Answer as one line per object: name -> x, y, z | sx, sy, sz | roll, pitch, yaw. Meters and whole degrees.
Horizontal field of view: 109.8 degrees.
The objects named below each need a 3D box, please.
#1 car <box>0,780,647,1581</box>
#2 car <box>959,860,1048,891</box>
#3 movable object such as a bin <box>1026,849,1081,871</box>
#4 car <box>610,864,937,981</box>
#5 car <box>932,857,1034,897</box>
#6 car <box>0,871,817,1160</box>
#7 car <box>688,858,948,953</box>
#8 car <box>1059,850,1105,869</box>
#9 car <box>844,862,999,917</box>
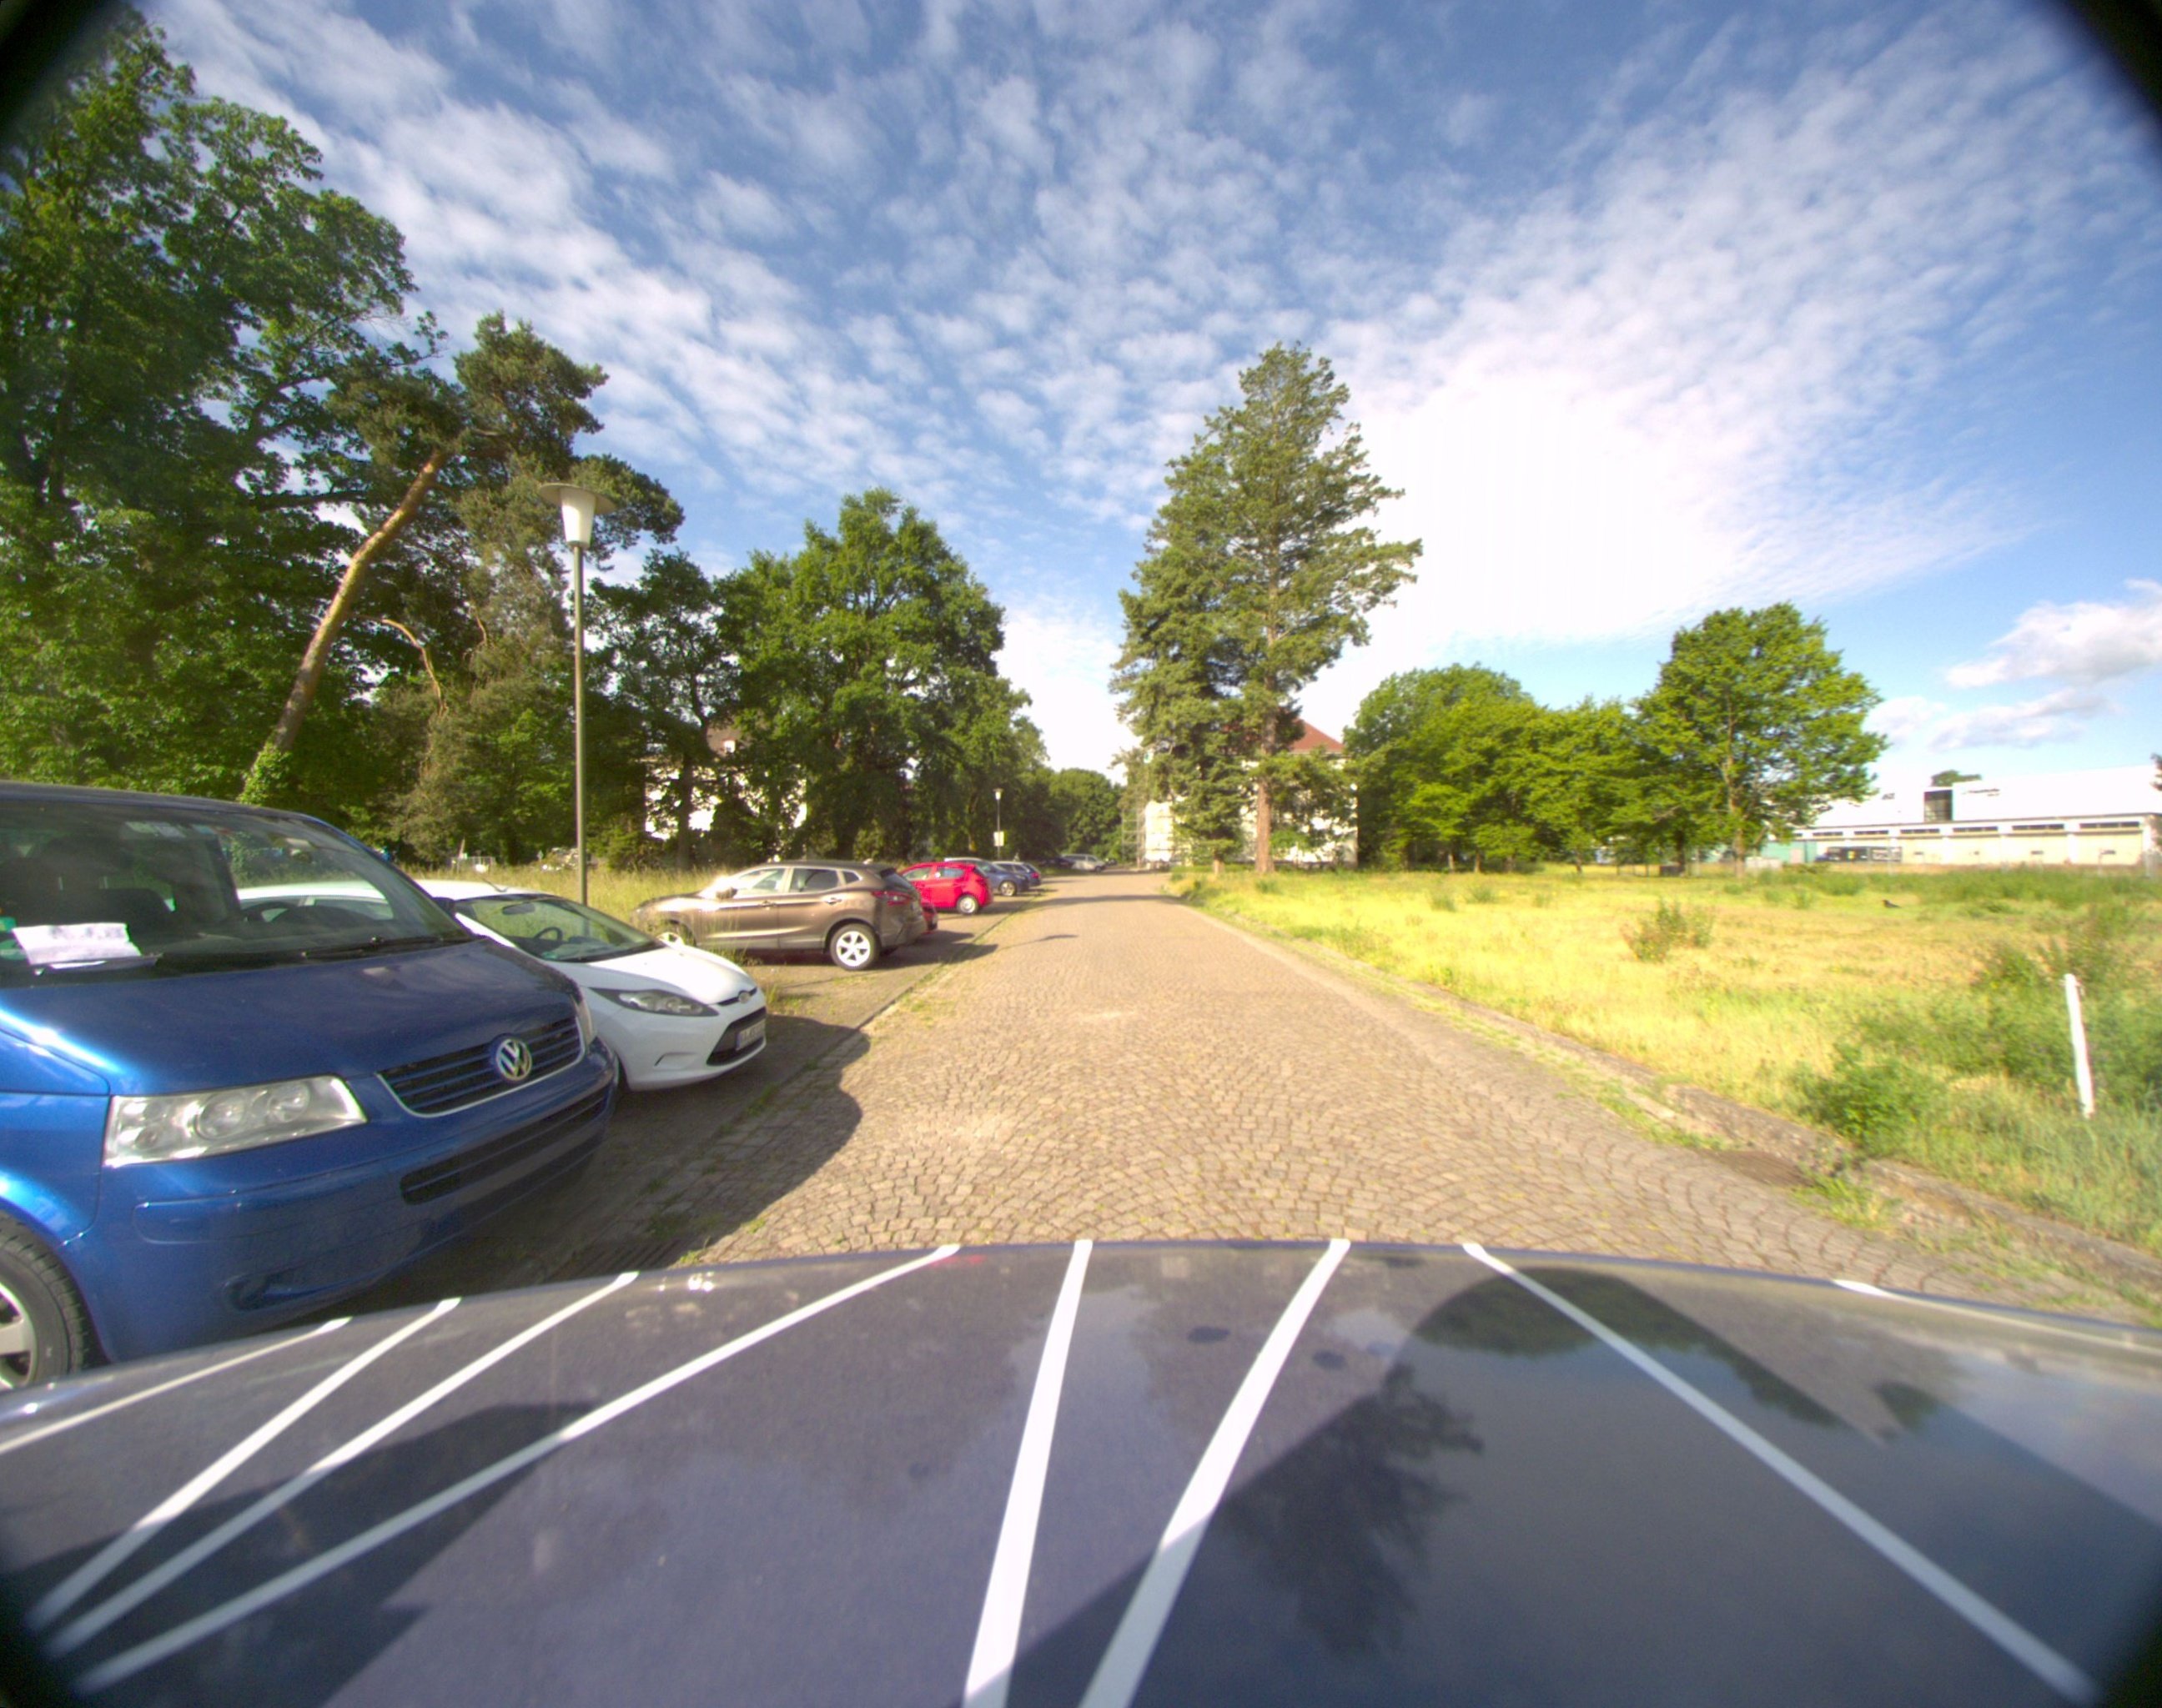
car -> -4.555, 0.753, 2.836 | 4.710, 1.924, 2.000 | 1, 0, 0
car -> -3.725, 1.040, 36.991 | 4.098, 1.414, 1.784 | 1, 0, -1
movable object such as a bin -> -2.636, 0.573, 72.794 | 4.865, 2.002, 2.002 | -1, 0, 14
car -> -4.497, 0.980, 11.682 | 4.237, 1.588, 1.934 | 0, 1, -2
car -> -4.110, 0.955, 32.304 | 4.098, 1.548, 1.853 | 1, 0, -1
car -> -4.434, 0.966, 5.408 | 4.408, 1.568, 1.939 | 1, 0, 0
car -> -4.810, 0.921, 14.392 | 4.237, 1.588, 1.934 | 1, 1, -2
car -> 0.102, 0.626, 85.579 | 4.933, 2.002, 1.999 | 1, 1, -5
car -> -4.535, 0.991, 22.047 | 4.098, 1.451, 1.853 | 1, 0, -1
